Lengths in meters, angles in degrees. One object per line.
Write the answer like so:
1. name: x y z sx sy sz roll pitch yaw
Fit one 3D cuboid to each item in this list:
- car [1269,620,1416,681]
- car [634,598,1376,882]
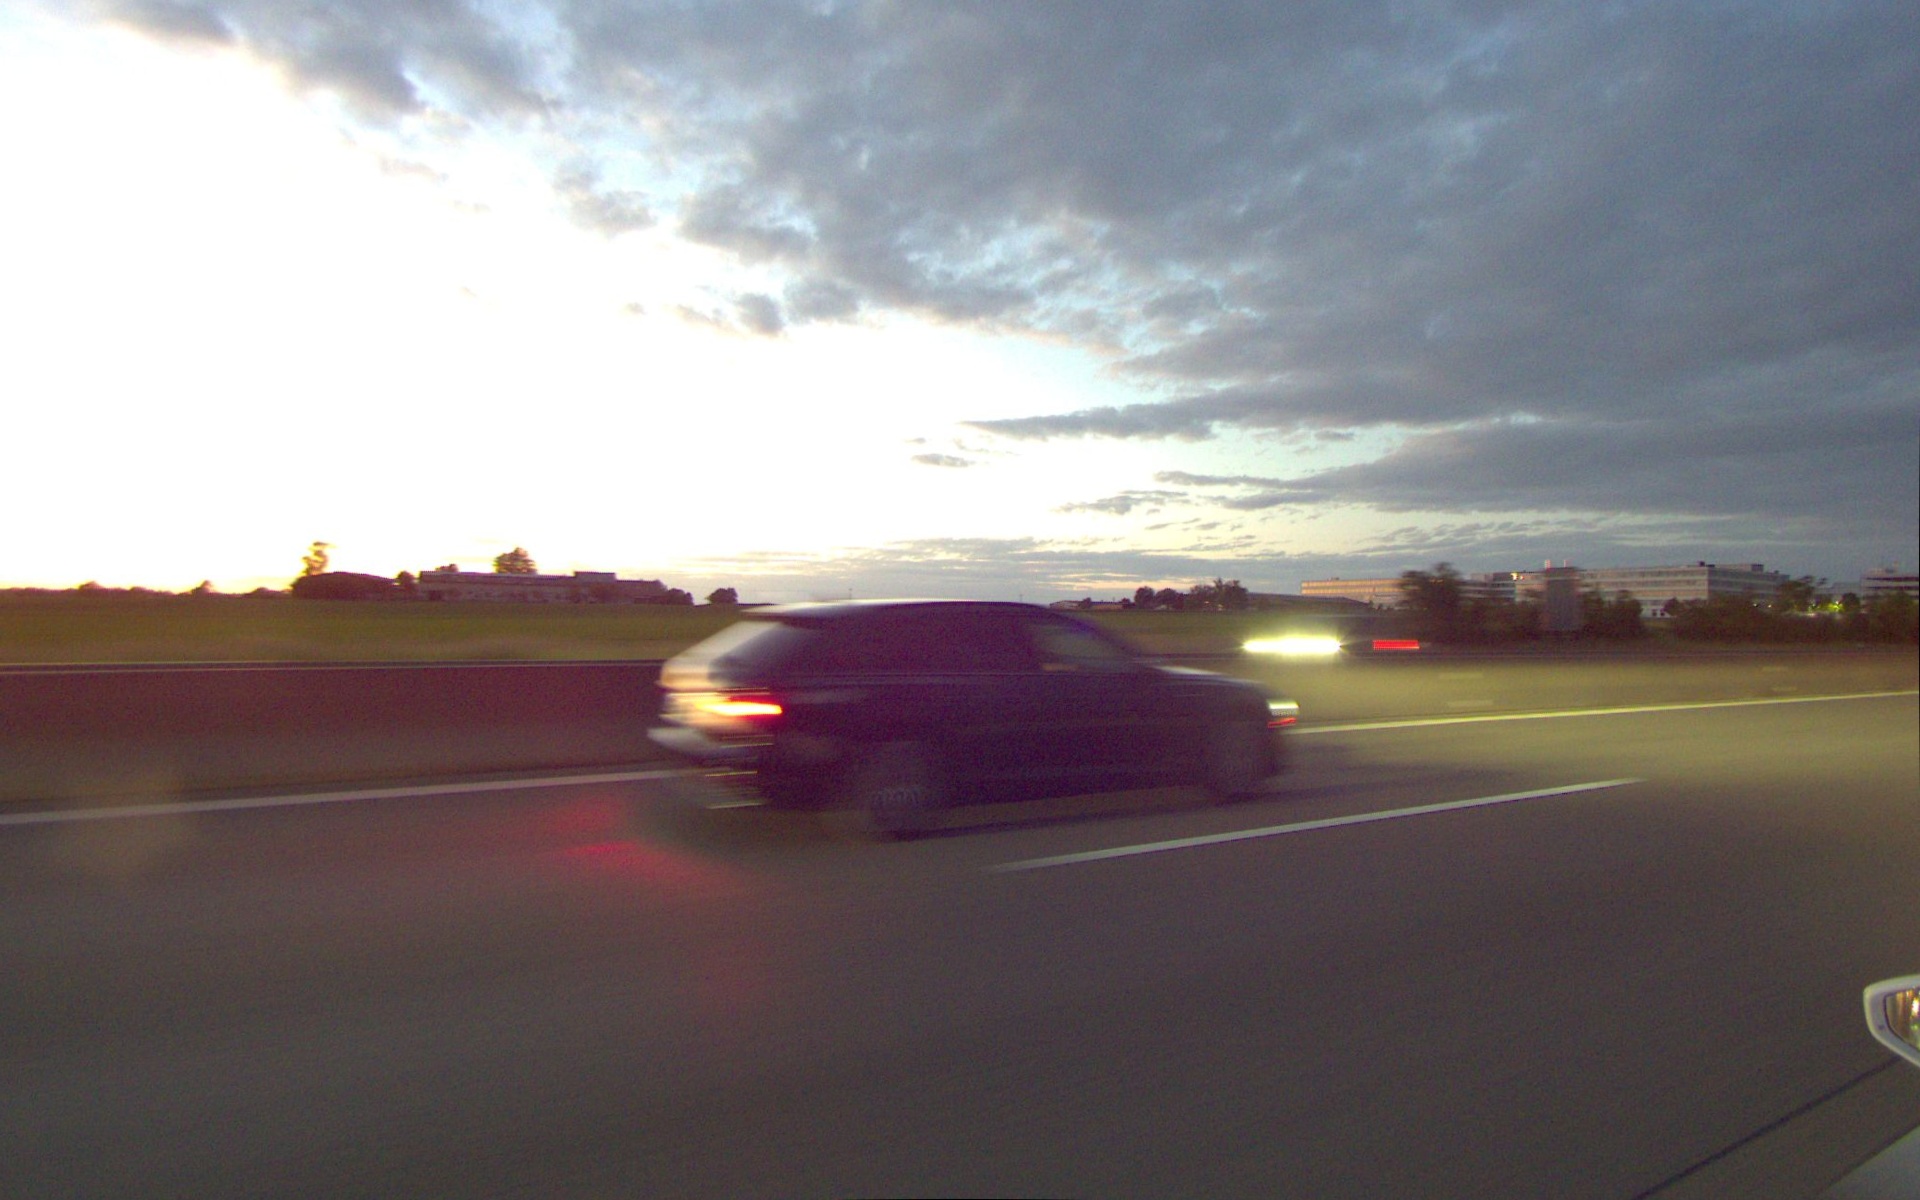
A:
1. car: 12.980 1.707 34.003 4.900 1.871 1.984 2 0 -30
2. car: 0.541 0.798 7.395 5.332 1.456 1.805 2 0 -31
